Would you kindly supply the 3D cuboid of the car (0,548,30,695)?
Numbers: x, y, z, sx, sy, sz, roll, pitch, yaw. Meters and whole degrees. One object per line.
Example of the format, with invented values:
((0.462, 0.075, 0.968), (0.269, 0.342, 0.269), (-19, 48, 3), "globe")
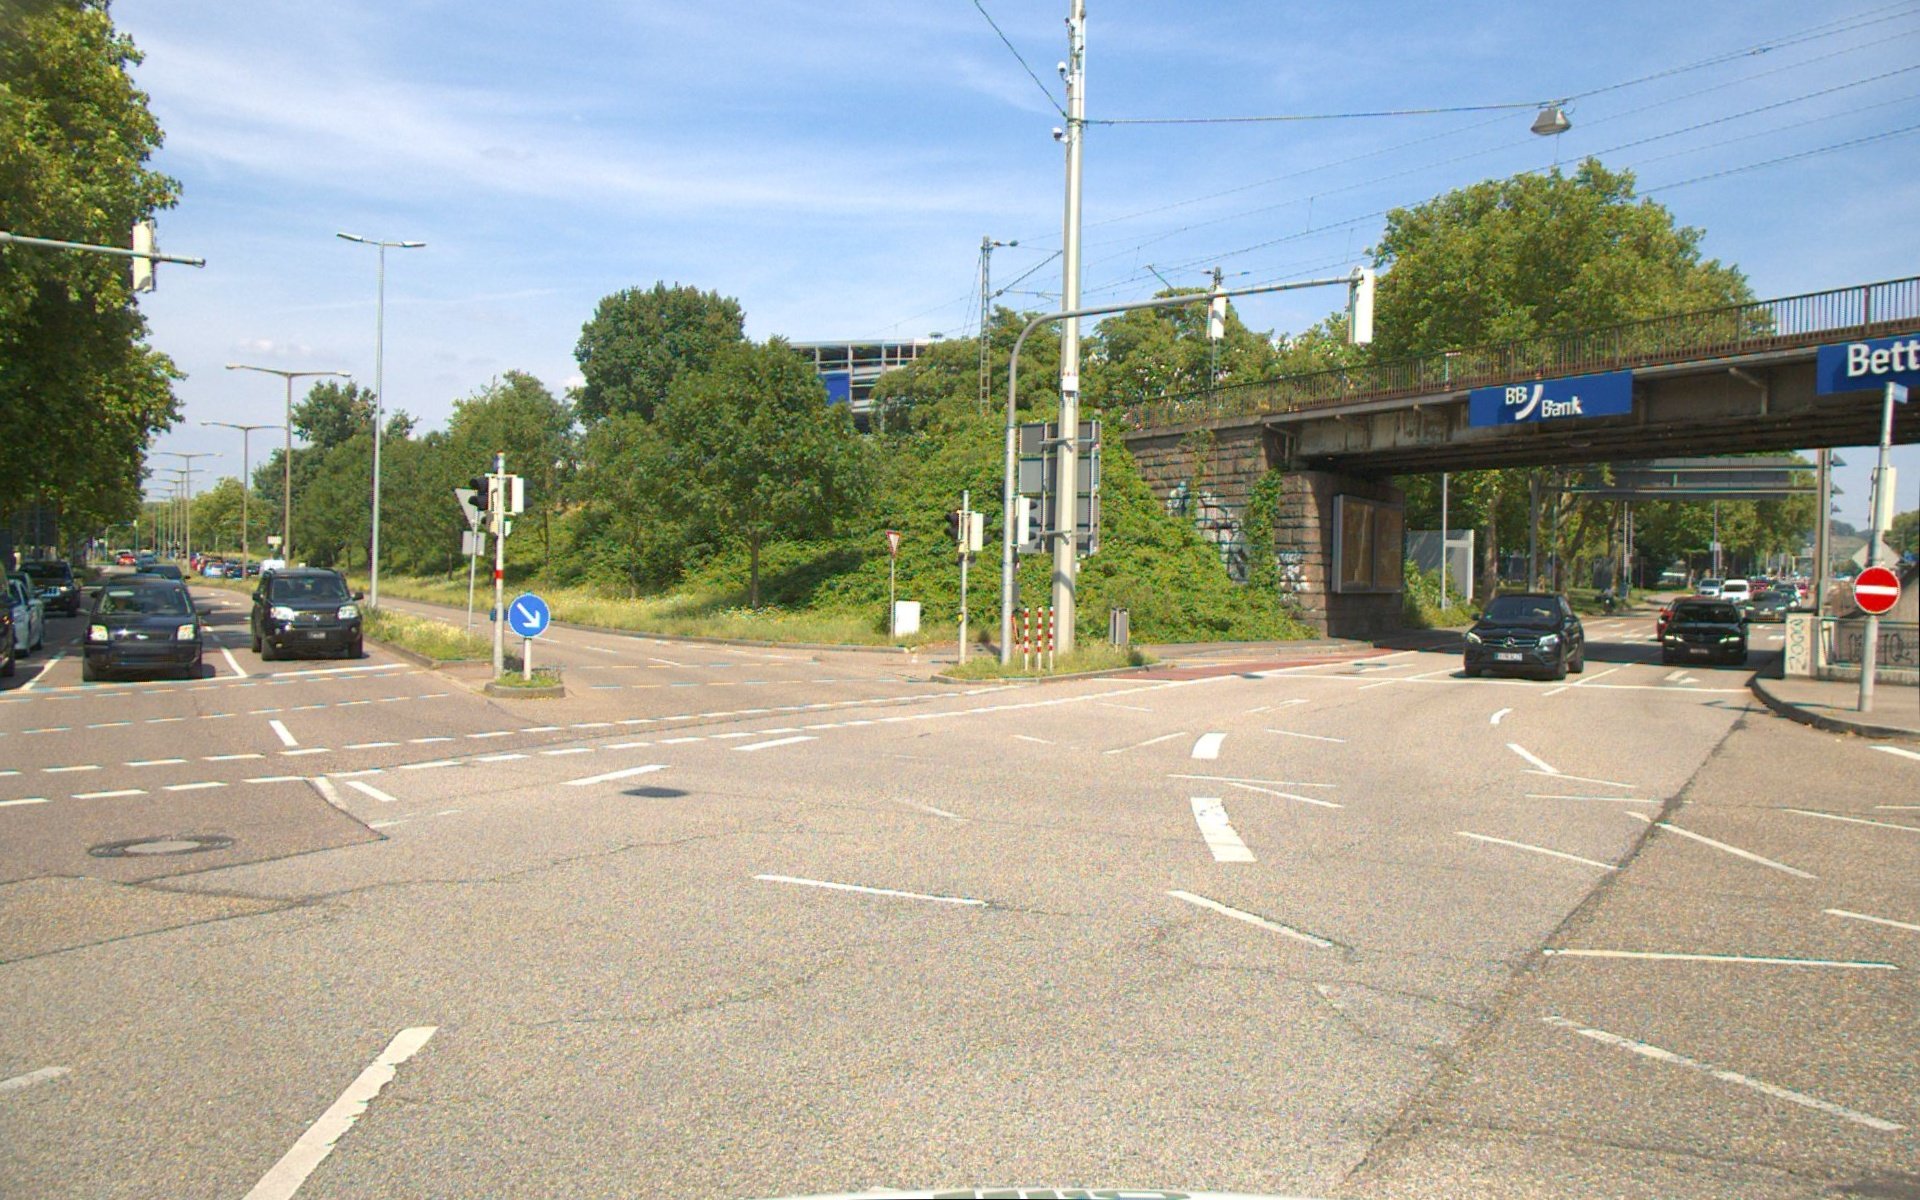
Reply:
((-15.079, 0.214, 24.561), (1.915, 1.953, 5.185), (1, 2, -26), "car")

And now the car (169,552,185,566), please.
((-107.524, -5.579, 227.098), (1.968, 1.892, 3.969), (1, 1, -25), "car")

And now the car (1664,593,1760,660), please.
((17.963, 0.584, 39.402), (1.656, 1.467, 3.992), (2, 1, 30), "car")

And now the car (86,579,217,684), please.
((-12.917, 0.446, 26.442), (1.740, 1.501, 3.924), (1, 1, -27), "car")

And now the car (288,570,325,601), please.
((-37.871, -0.832, 95.820), (1.715, 1.562, 3.968), (1, 3, -26), "car")

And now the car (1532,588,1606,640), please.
((19.329, 0.410, 52.423), (1.786, 1.533, 4.212), (1, 1, 26), "car")

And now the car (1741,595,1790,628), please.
((37.931, 0.540, 77.864), (1.657, 1.467, 3.990), (2, 1, 32), "car")

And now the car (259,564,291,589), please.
((-50.436, -1.721, 121.751), (1.969, 1.738, 4.228), (1, 1, -26), "car")

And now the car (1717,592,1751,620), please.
((51.245, 0.371, 109.428), (1.764, 1.747, 3.993), (1, 1, 29), "car")

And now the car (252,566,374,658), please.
((-12.697, 0.174, 32.325), (1.786, 1.643, 4.451), (0, 1, -27), "car")

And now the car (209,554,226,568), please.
((-103.968, -5.450, 231.573), (1.890, 1.878, 3.964), (1, 1, -28), "car")

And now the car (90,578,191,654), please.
((-17.796, 0.288, 36.038), (1.813, 1.488, 4.480), (-2, 2, -25), "car")

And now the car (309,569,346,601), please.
((-42.201, -1.034, 110.314), (1.993, 1.869, 3.968), (1, 3, -26), "car")

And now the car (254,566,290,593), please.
((-45.756, -1.346, 109.951), (1.970, 1.713, 3.966), (1, 1, -27), "car")

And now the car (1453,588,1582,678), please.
((11.210, 0.589, 33.075), (1.954, 1.624, 4.442), (1, 1, 25), "car")

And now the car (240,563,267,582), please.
((-62.960, -2.481, 147.307), (1.969, 1.657, 4.053), (1, 1, -26), "car")

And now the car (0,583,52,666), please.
((-18.970, 0.438, 32.288), (1.868, 1.474, 4.963), (-1, 1, -25), "car")

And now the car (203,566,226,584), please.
((-65.576, -2.181, 145.397), (1.607, 1.509, 4.014), (3, 0, -27), "car")

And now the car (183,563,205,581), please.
((-82.237, -2.993, 177.553), (1.890, 1.878, 3.964), (1, 1, -28), "car")
